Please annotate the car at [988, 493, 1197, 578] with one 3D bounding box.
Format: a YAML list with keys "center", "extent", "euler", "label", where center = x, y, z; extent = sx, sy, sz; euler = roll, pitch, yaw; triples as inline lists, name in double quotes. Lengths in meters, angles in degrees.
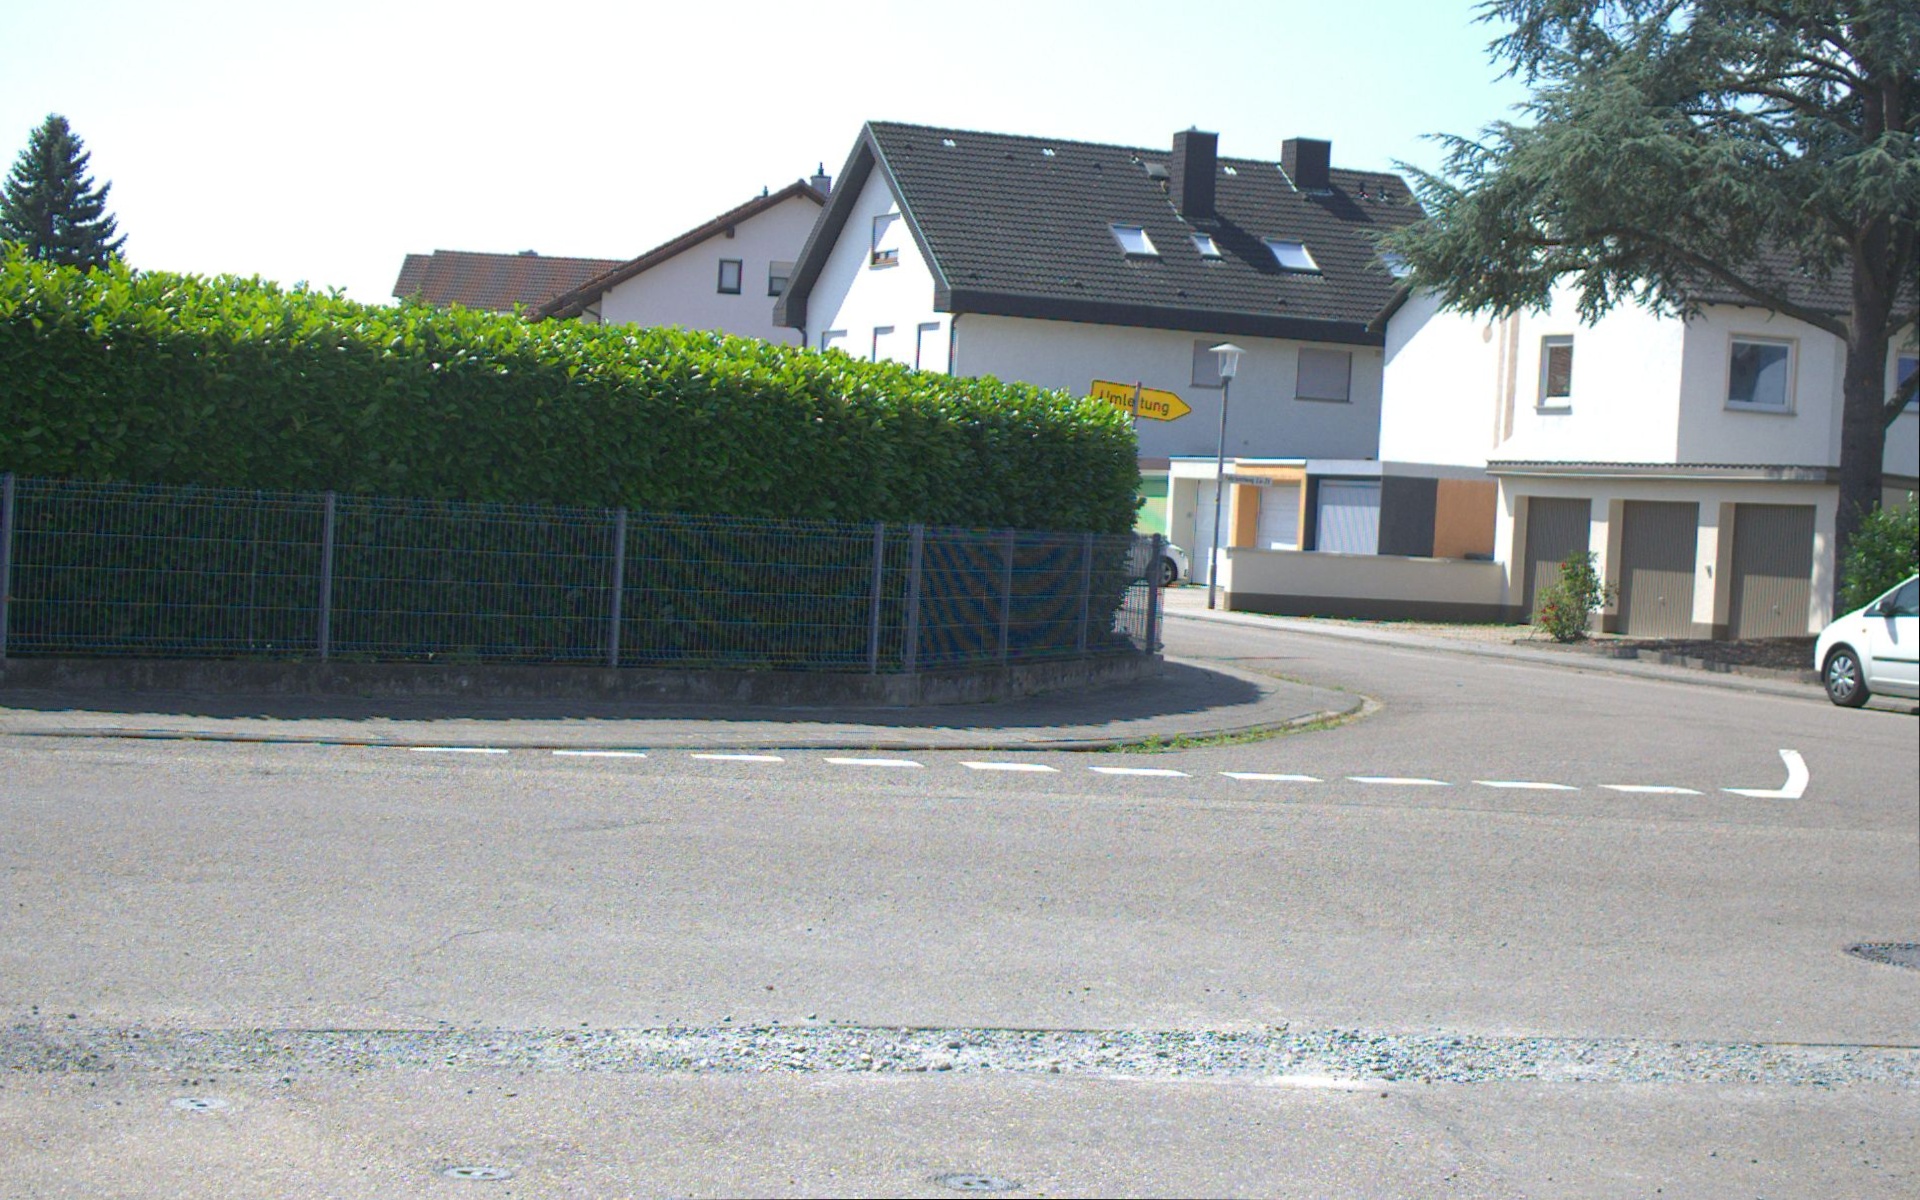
- center: [2.578, -1.262, 67.110]
  extent: [3.598, 1.403, 1.785]
  euler: [3, 2, -21]
  label: "car"

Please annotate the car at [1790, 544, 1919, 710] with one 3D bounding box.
- center: [10.326, 0.347, 34.180]
  extent: [1.797, 1.557, 4.145]
  euler: [3, 2, -23]
  label: "car"
